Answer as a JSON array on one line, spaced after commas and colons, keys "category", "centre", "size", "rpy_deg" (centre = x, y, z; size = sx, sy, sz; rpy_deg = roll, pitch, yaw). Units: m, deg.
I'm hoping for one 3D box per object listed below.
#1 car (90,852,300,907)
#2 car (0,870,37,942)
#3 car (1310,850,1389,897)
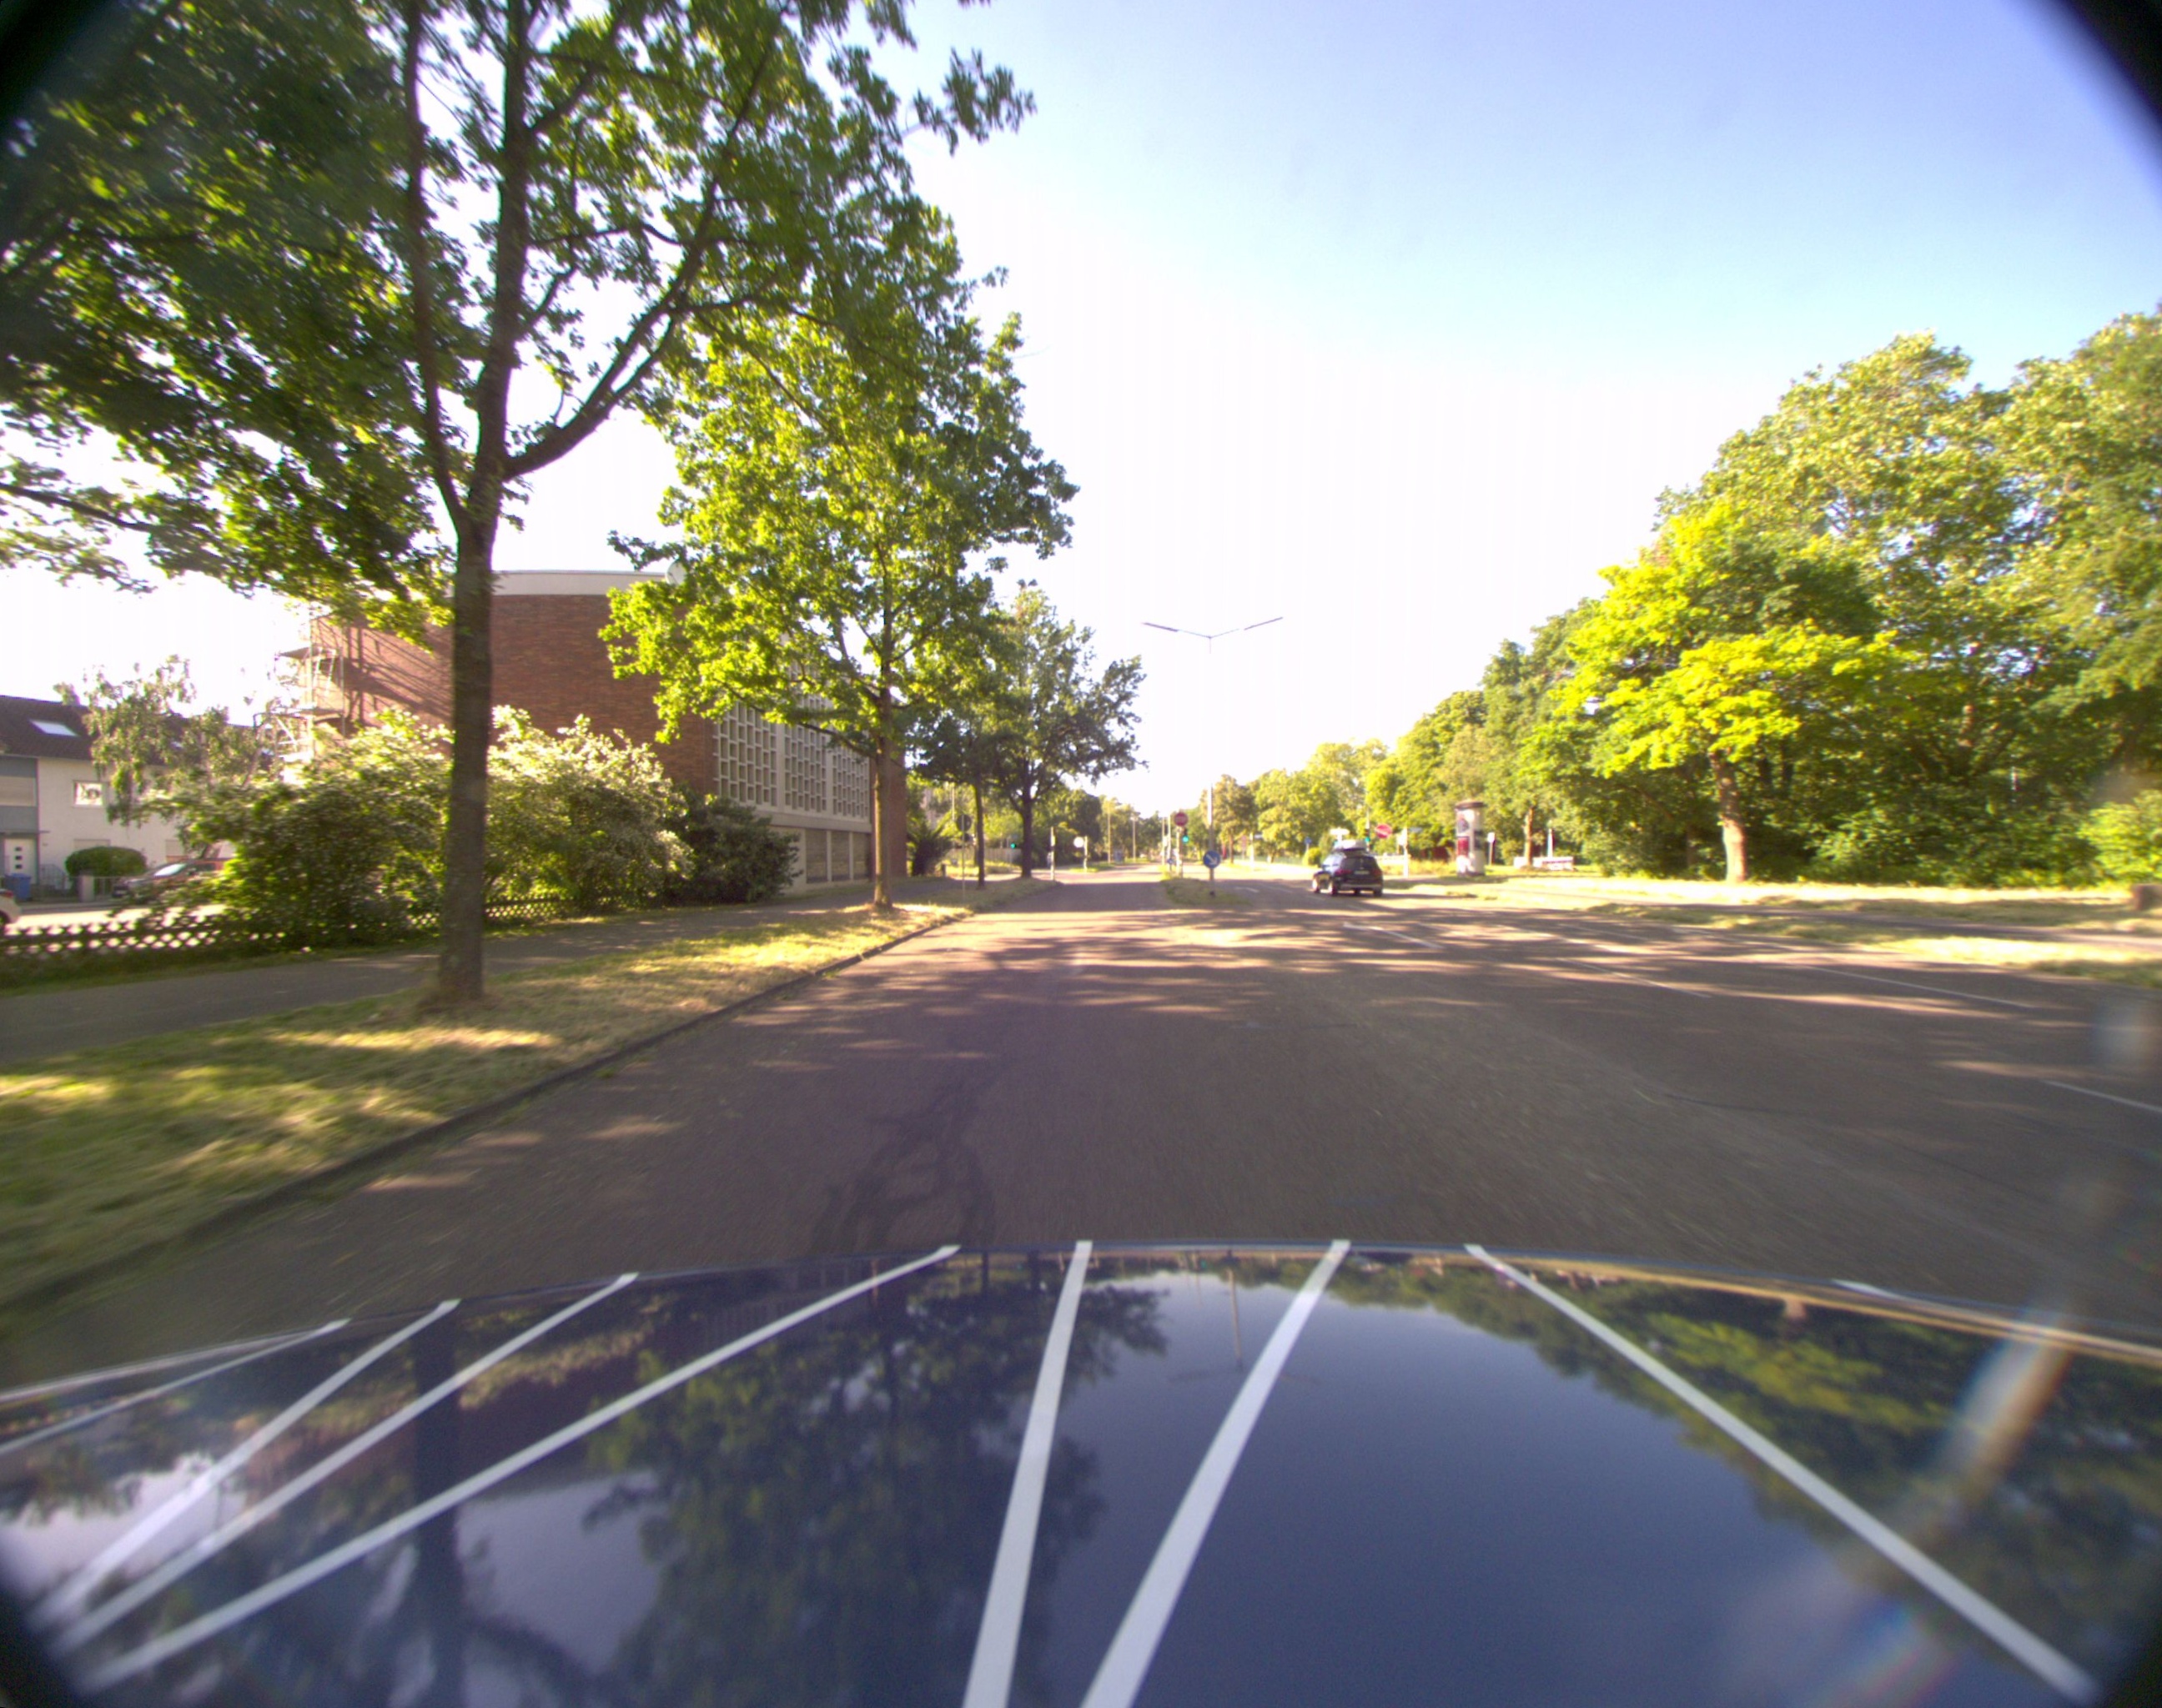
[{"category": "car", "centre": [-36.890, 0.968, 31.938], "size": [2.299, 2.002, 5.266], "rpy_deg": [0, 2, 8]}, {"category": "car", "centre": [-25.919, 1.243, 16.096], "size": [1.877, 1.609, 4.003], "rpy_deg": [0, 2, 12]}, {"category": "car", "centre": [10.315, 0.680, 29.510], "size": [1.843, 1.698, 4.506], "rpy_deg": [0, 0, 6]}]
